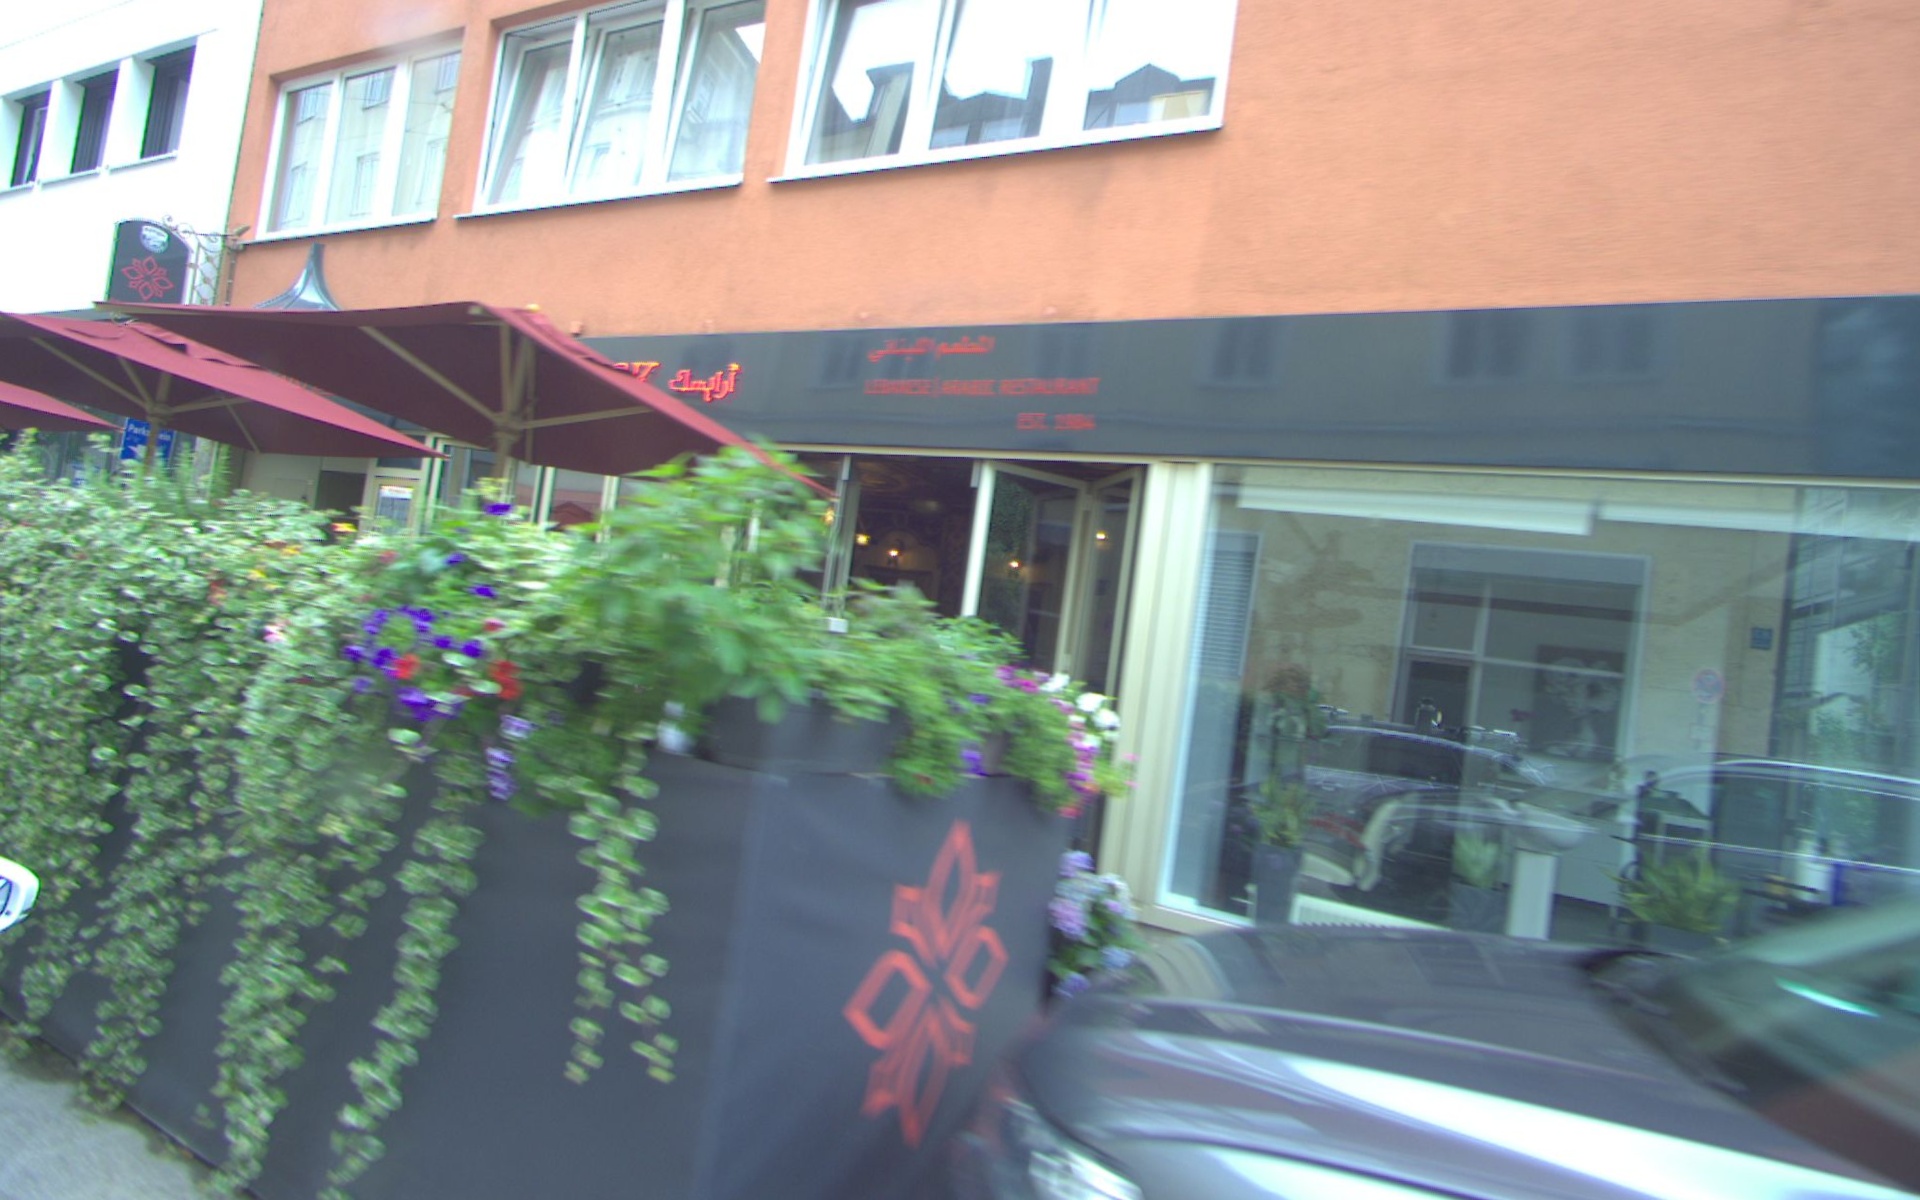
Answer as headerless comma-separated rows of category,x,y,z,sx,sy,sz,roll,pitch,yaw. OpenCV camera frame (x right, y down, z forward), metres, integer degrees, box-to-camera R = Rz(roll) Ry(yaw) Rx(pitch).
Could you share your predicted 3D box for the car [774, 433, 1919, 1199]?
car,2.067,0.954,1.146,4.314,1.728,1.830,7,-3,29
